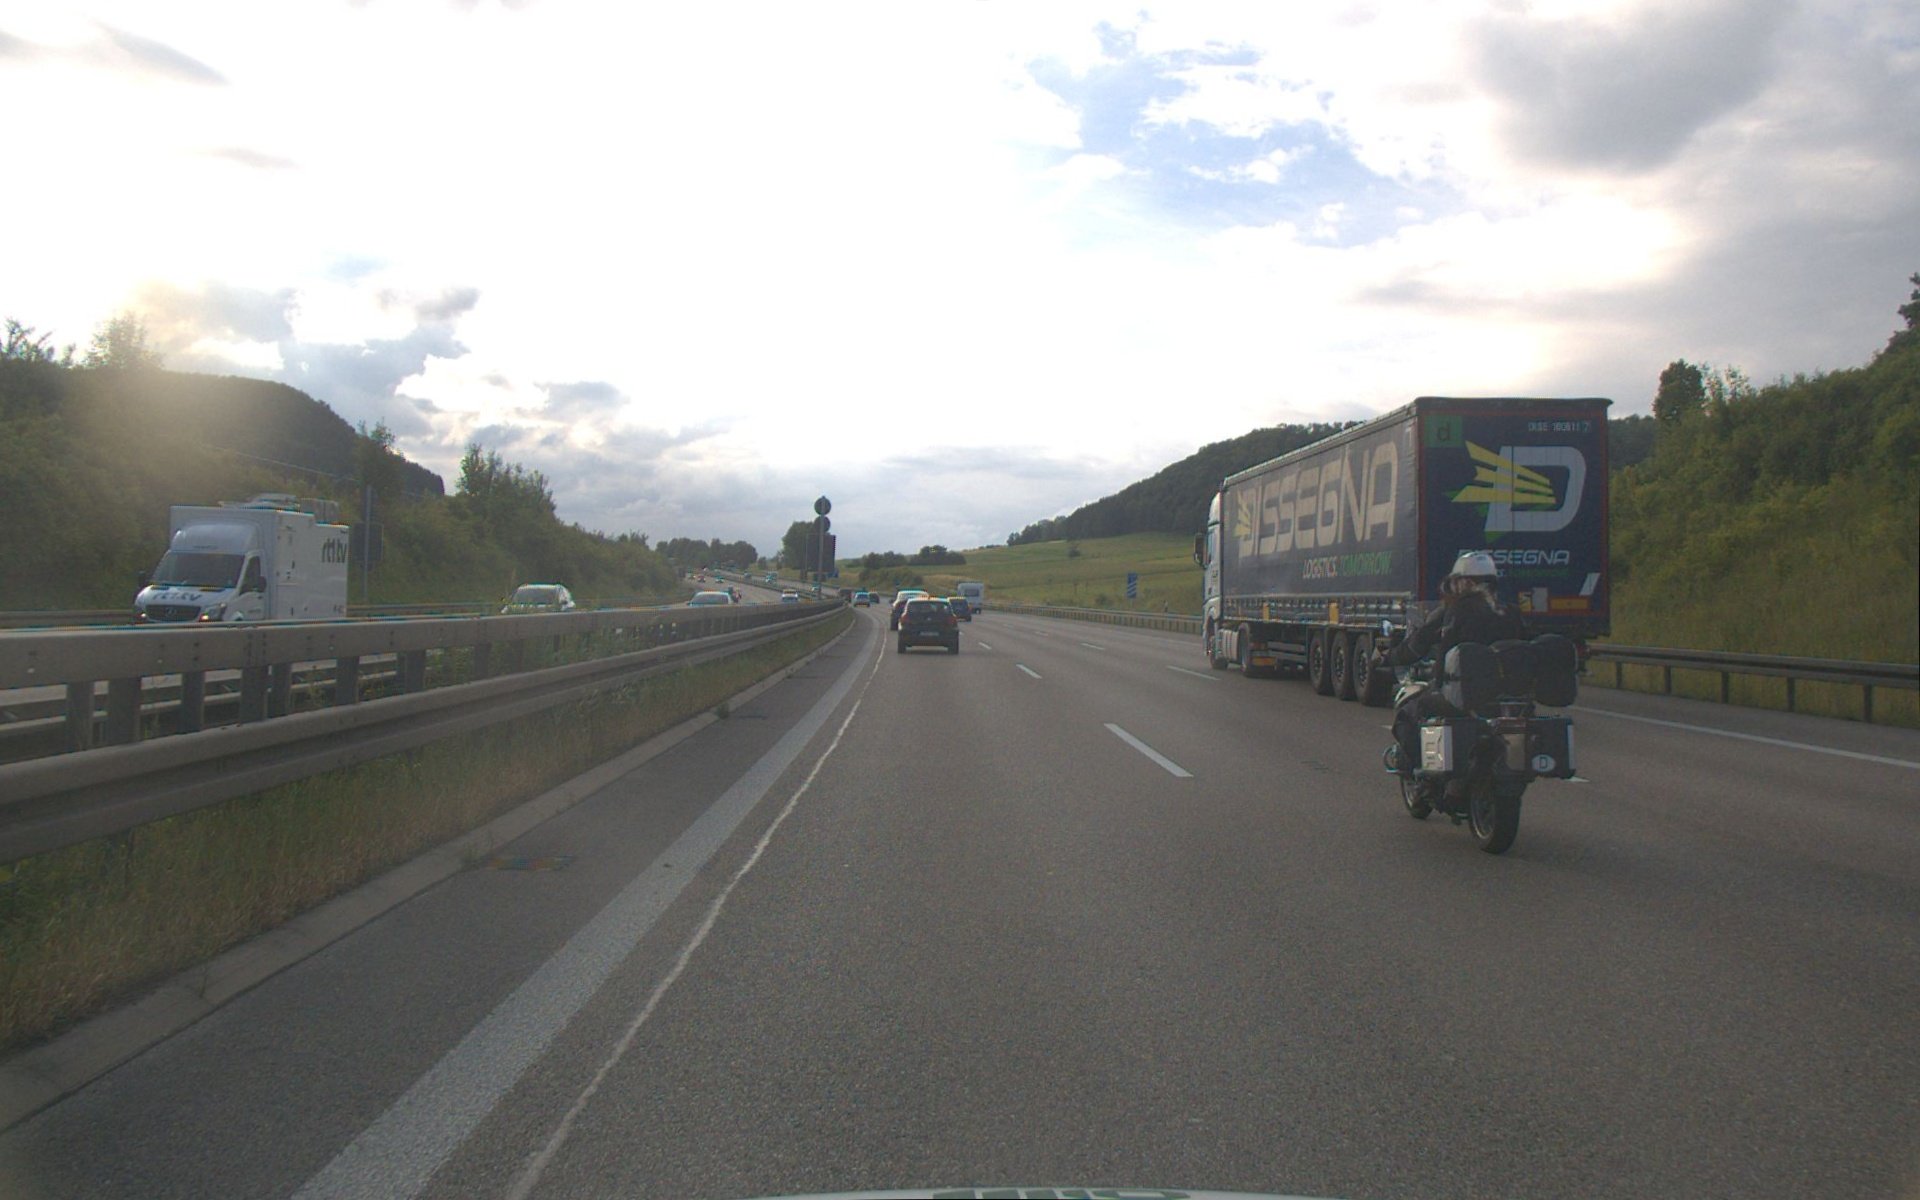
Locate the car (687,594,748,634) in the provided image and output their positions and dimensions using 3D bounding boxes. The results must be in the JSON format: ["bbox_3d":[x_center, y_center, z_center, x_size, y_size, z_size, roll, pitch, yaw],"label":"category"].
[{"bbox_3d":[-9.167,0.525,62.783,1.744,1.434,3.762,1,0,0],"label":"car"}]

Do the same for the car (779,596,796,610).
[{"bbox_3d":[-20.285,0.321,194.717,1.797,1.619,5.015,1,0,-4],"label":"car"}]

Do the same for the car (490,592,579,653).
[{"bbox_3d":[-12.507,0.628,48.884,1.610,1.685,4.343,1,0,-2],"label":"car"}]

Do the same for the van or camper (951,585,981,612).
[{"bbox_3d":[0.512,-0.138,144.356,2.496,2.278,5.329,1,0,0],"label":"van or camper"}]

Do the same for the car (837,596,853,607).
[{"bbox_3d":[-15.737,0.177,226.197,1.734,1.458,3.992,1,0,-9],"label":"car"}]

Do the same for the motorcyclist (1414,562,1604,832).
[{"bbox_3d":[3.277,0.560,9.941,0.859,1.541,0.797,1,-1,0],"label":"motorcyclist"}]

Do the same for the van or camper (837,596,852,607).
[{"bbox_3d":[-15.683,0.191,224.869,1.927,1.458,3.997,1,0,-4],"label":"van or camper"}]

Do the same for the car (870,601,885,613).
[{"bbox_3d":[-11.113,0.909,222.572,1.918,1.601,3.999,1,0,-1],"label":"car"}]

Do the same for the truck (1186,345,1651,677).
[{"bbox_3d":[6.884,-1.100,29.300,2.904,4.062,17.727,1,0,-1],"label":"truck"}]

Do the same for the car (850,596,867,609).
[{"bbox_3d":[-11.401,0.301,185.901,1.733,1.458,3.994,1,0,-7],"label":"car"}]

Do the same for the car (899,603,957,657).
[{"bbox_3d":[-0.836,0.786,45.126,1.506,1.371,3.677,1,0,0],"label":"car"}]

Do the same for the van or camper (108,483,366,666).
[{"bbox_3d":[-15.861,-0.516,36.997,2.432,3.614,7.974,1,0,-2],"label":"van or camper"}]

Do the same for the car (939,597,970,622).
[{"bbox_3d":[-0.344,0.554,101.506,1.731,1.458,3.998,1,0,-3],"label":"car"}]

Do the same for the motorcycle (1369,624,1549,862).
[{"bbox_3d":[3.143,0.851,10.570,0.614,1.362,1.739,1,0,0],"label":"motorcycle"}]

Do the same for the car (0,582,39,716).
[{"bbox_3d":[-11.204,0.518,16.571,1.610,1.461,4.343,1,0,-2],"label":"car"}]
